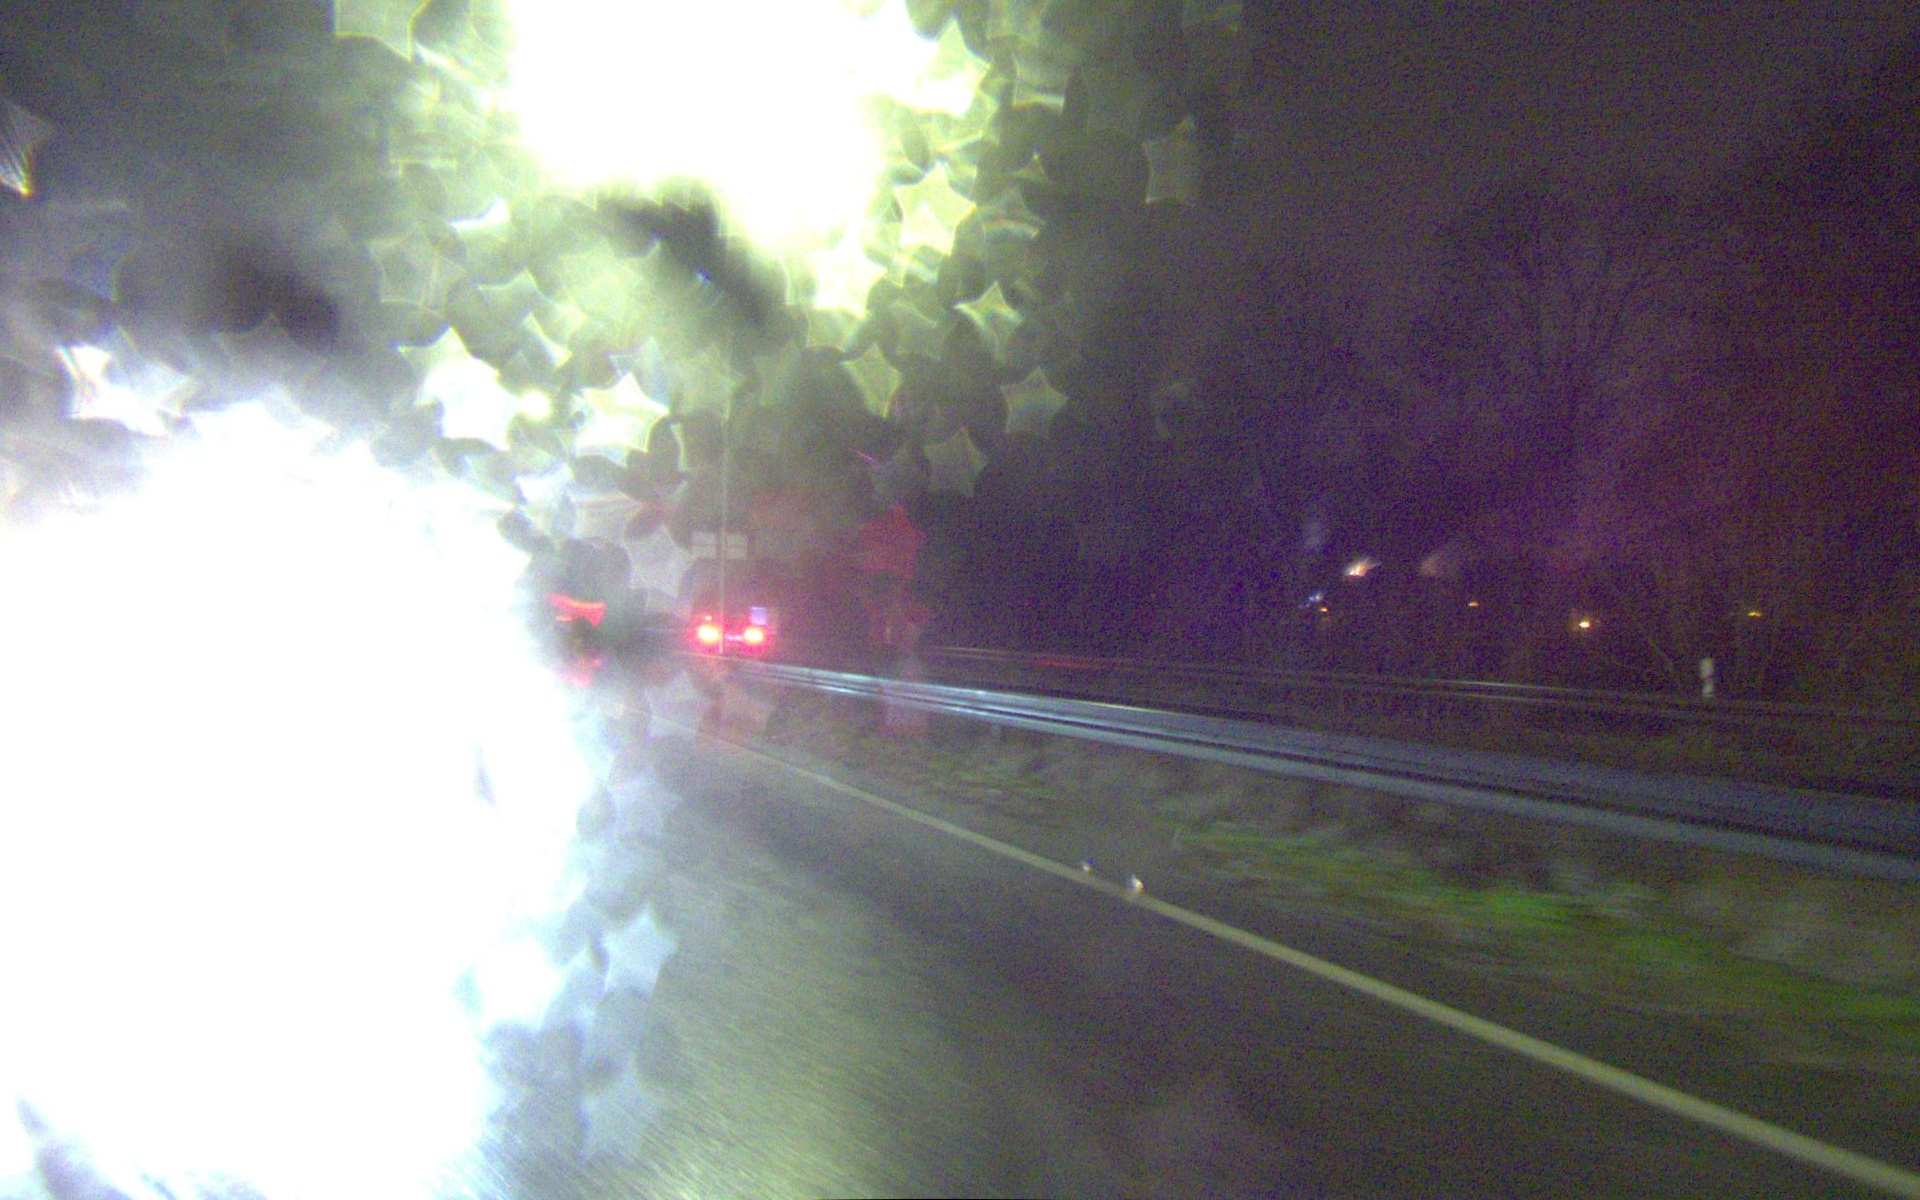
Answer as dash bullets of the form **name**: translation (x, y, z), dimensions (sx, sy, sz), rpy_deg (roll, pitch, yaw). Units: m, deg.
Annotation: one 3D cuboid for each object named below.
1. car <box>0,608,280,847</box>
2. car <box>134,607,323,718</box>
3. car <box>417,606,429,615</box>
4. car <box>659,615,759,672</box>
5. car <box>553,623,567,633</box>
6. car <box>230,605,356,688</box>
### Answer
- **car**: translation (-6.787, 0.829, 8.309), dimensions (1.735, 1.512, 4.012), rpy_deg (1, -1, -30)
- **car**: translation (-11.105, 0.869, 15.656), dimensions (1.966, 1.475, 4.012), rpy_deg (1, -1, -30)
- **car**: translation (-95.196, 1.840, 179.370), dimensions (1.759, 1.660, 4.012), rpy_deg (0, -1, -31)
- **car**: translation (-7.411, 1.222, 29.611), dimensions (1.727, 1.564, 4.022), rpy_deg (1, -1, -31)
- **car**: translation (-70.822, 4.954, 179.160), dimensions (1.836, 1.660, 4.013), rpy_deg (0, -1, -28)
- **car**: translation (-13.895, 0.922, 21.287), dimensions (1.966, 1.552, 4.012), rpy_deg (1, -1, -30)
